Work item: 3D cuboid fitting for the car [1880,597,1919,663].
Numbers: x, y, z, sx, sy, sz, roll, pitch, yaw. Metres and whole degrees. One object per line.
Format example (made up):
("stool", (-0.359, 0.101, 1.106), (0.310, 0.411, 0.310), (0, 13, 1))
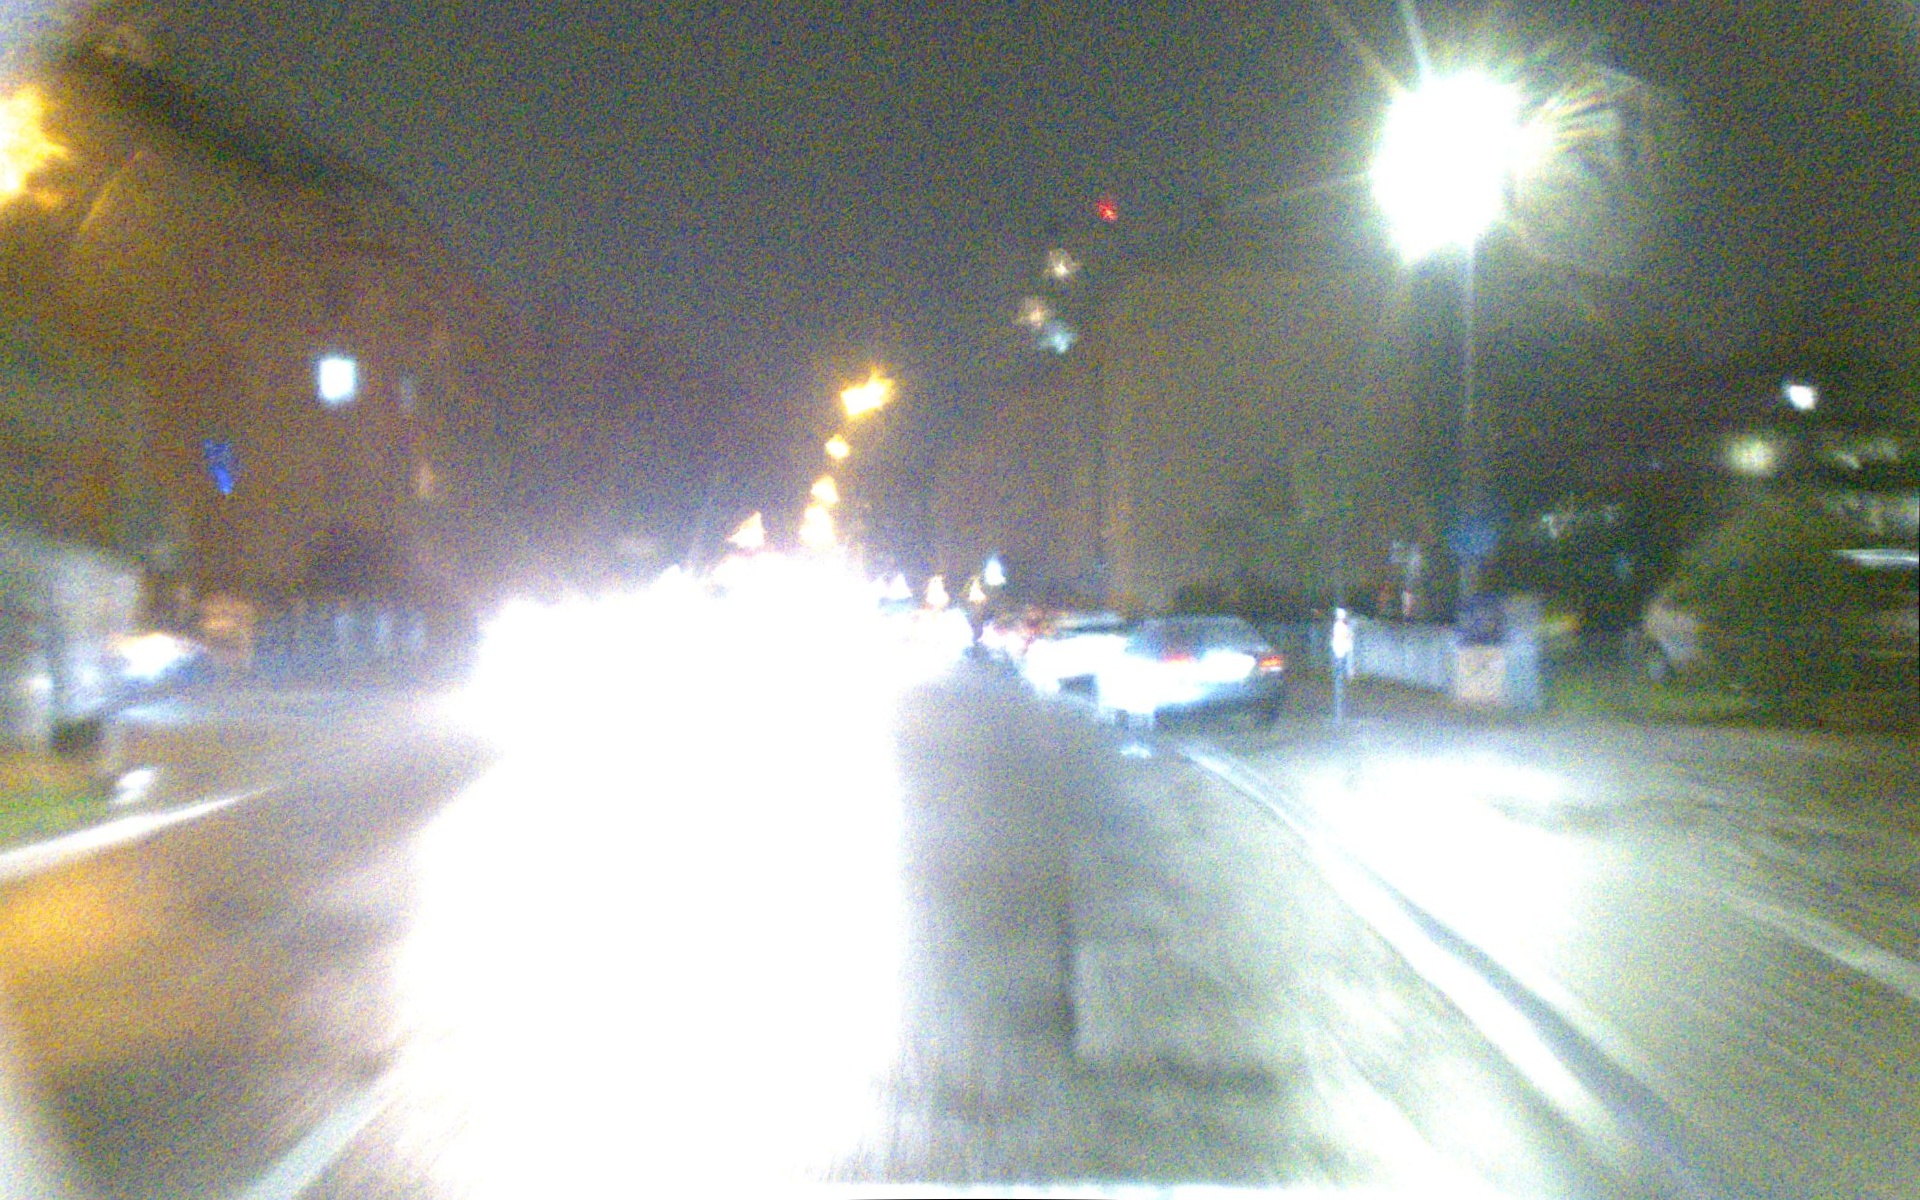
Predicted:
("car", (21.716, 0.653, 35.371), (1.645, 1.438, 4.259), (0, 0, -1))

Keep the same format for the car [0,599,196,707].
("car", (-14.990, 0.834, 26.616), (4.589, 1.647, 2.002), (-1, -1, 11))

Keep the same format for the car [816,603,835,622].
("car", (-12.828, 1.183, 157.694), (1.777, 1.740, 3.799), (-1, 0, -6))

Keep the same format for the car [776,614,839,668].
("car", (-4.564, 1.202, 50.043), (1.761, 1.487, 4.574), (3, -1, -4))

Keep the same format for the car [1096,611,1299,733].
("car", (3.228, 0.931, 23.473), (1.755, 1.474, 4.785), (-1, 0, -5))

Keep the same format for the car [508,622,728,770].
("car", (-3.695, 0.983, 18.510), (1.710, 1.458, 3.999), (0, -1, -1))

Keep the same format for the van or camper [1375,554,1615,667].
("van or camper", (12.569, 0.247, 39.079), (4.960, 2.571, 2.171), (0, 0, -2))

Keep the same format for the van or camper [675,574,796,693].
("van or camper", (-4.284, 0.630, 32.237), (1.832, 2.140, 4.940), (0, -1, -2))

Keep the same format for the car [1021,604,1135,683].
("car", (2.391, 0.876, 34.580), (1.679, 1.515, 4.431), (0, -1, -5))

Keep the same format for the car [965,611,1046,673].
("car", (1.228, 1.136, 46.346), (1.720, 1.555, 4.148), (-2, 0, -6))

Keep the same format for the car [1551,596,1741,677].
("car", (14.316, 0.722, 34.831), (1.793, 1.575, 4.863), (0, 0, -3))

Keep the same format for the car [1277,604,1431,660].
("car", (11.043, 0.886, 46.483), (3.909, 1.547, 1.683), (0, 0, -6))

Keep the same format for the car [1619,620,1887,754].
("car", (11.969, 1.243, 25.301), (1.866, 1.725, 4.256), (-1, 1, -3))

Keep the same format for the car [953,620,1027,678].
("car", (0.892, 1.477, 51.498), (1.844, 1.600, 4.524), (-2, 0, -5))

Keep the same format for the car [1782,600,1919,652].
("car", (24.521, 0.694, 44.624), (3.910, 1.377, 1.680), (0, 0, -6))

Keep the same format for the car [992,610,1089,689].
("car", (1.907, 1.154, 40.389), (1.680, 1.737, 4.181), (-2, 0, -6))

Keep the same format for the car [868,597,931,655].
("car", (-2.030, 0.827, 54.722), (1.954, 1.713, 3.997), (1, 1, -4))

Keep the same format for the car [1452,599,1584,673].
("car", (11.795, 0.730, 35.148), (1.531, 1.495, 3.406), (0, 0, -3))

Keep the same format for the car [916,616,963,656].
("car", (-0.863, 1.457, 67.507), (1.597, 1.492, 4.505), (-1, 0, -5))
